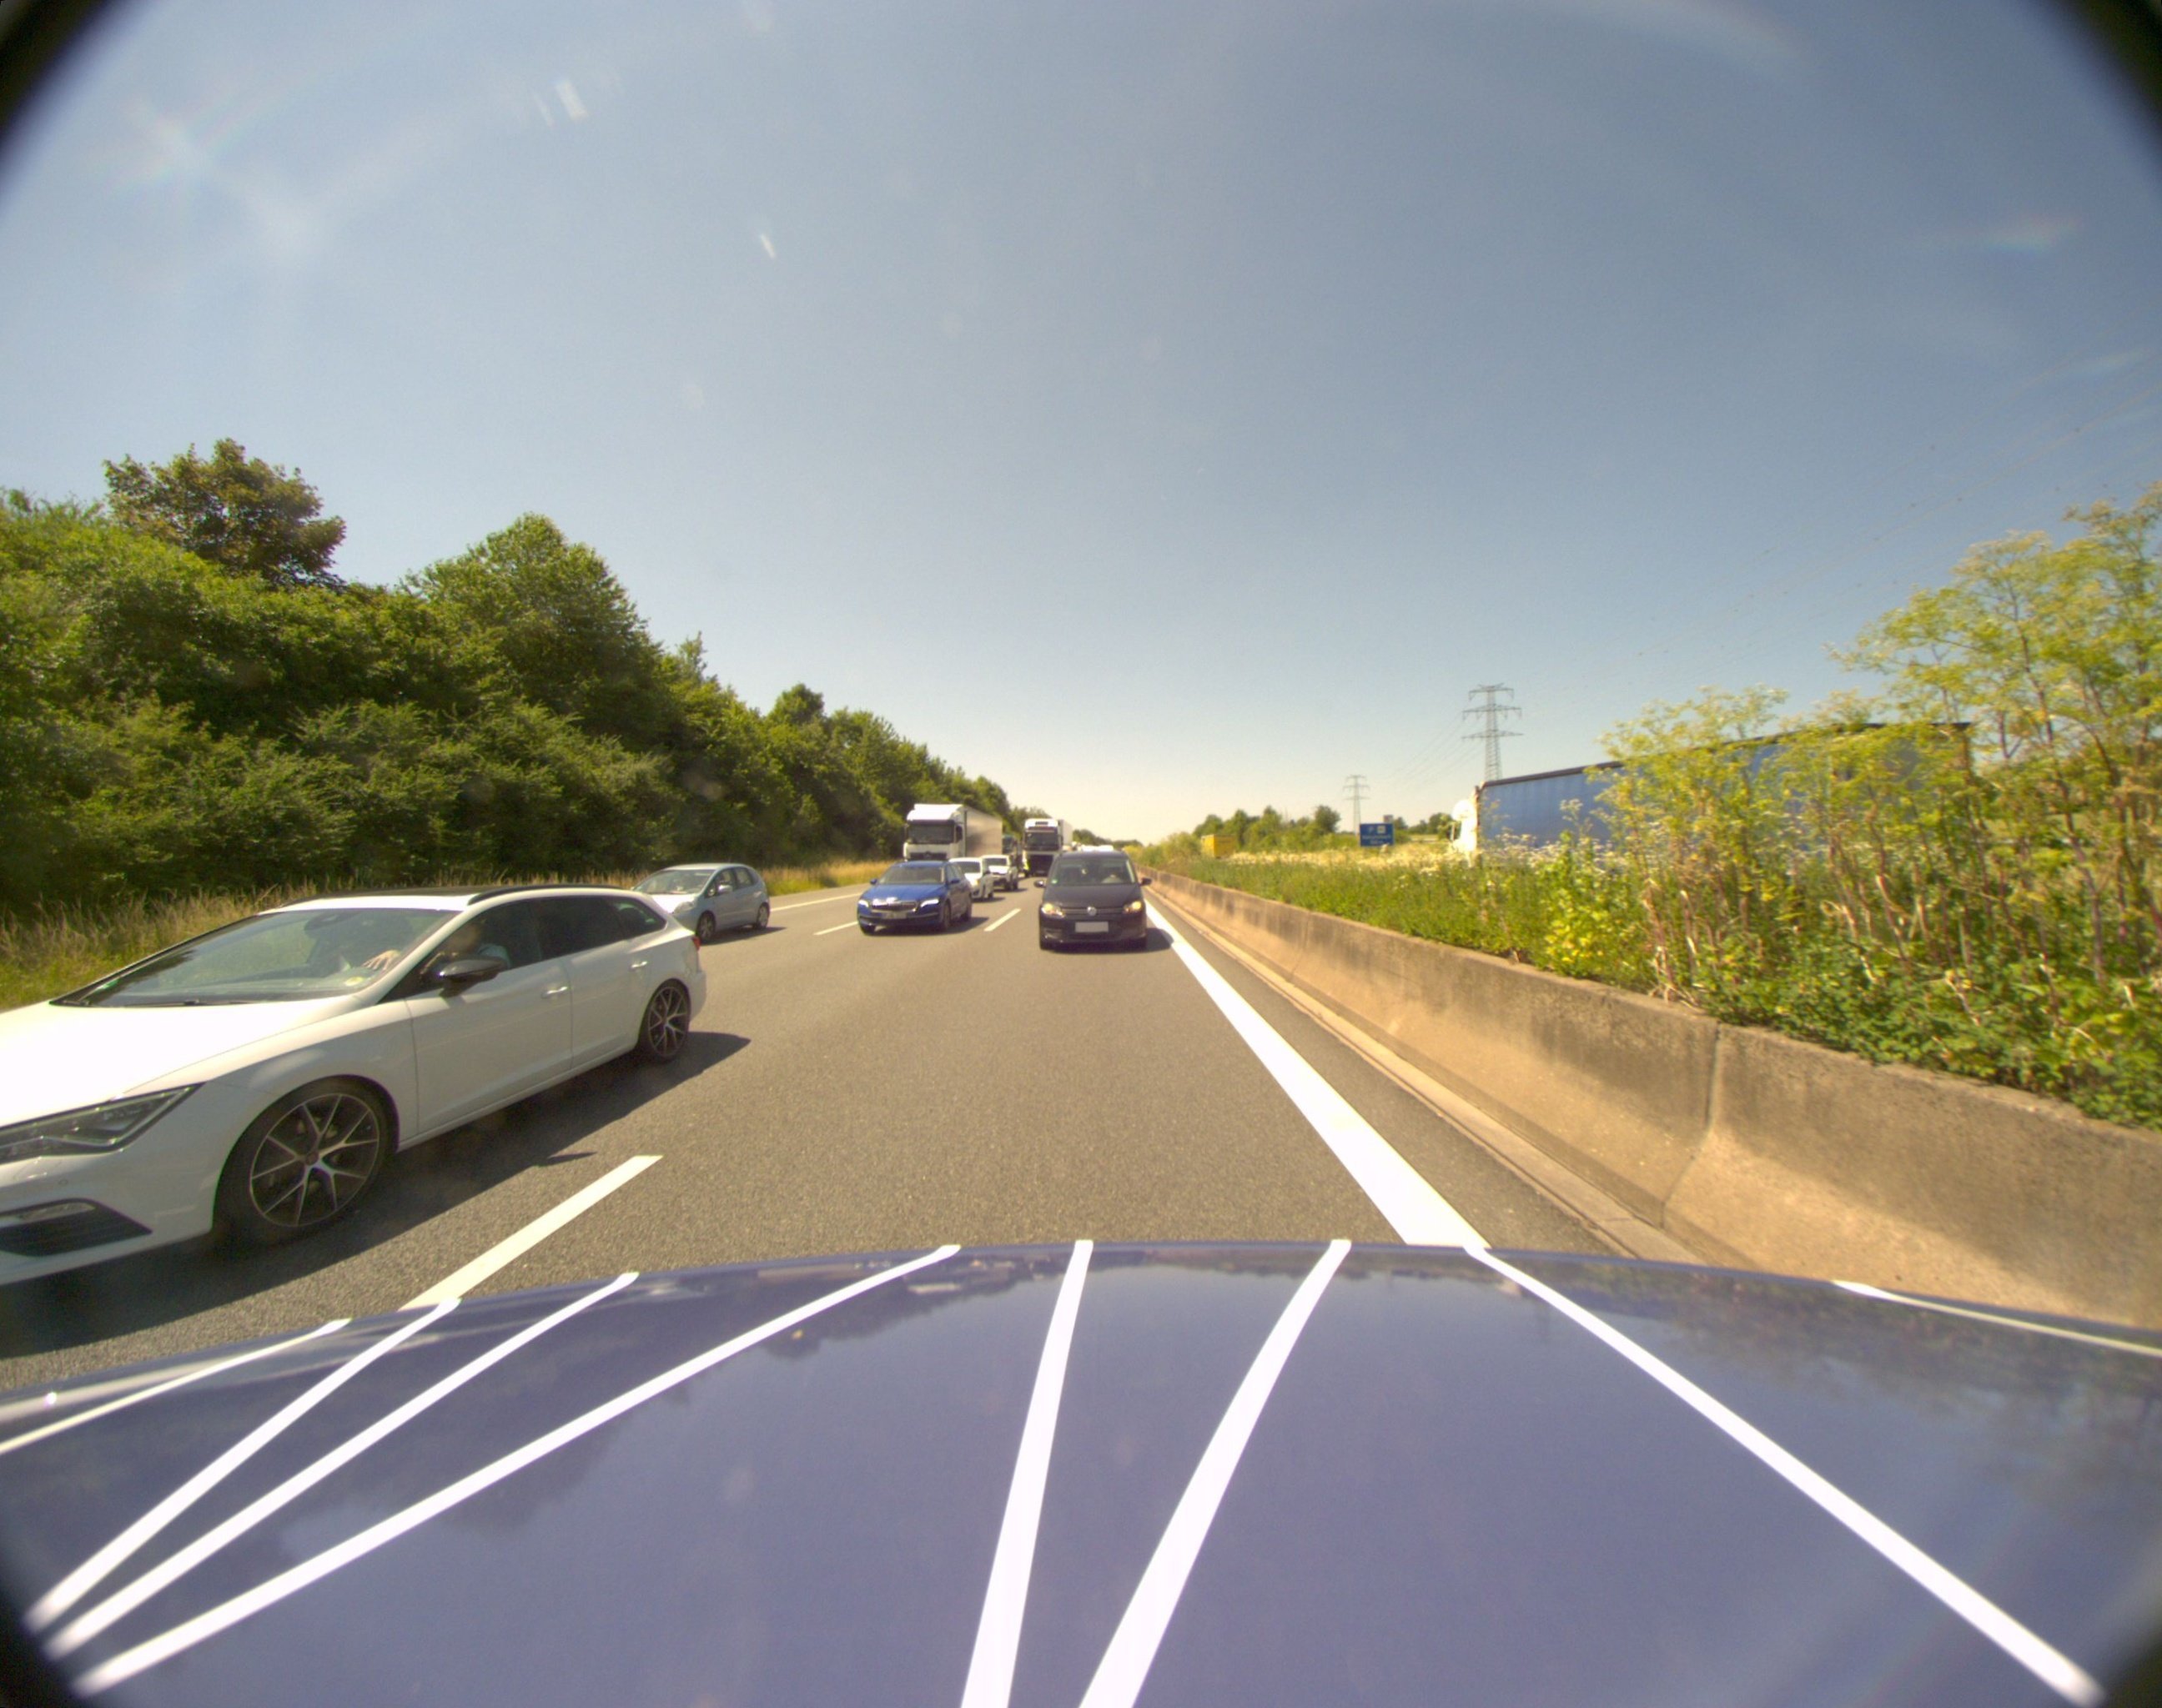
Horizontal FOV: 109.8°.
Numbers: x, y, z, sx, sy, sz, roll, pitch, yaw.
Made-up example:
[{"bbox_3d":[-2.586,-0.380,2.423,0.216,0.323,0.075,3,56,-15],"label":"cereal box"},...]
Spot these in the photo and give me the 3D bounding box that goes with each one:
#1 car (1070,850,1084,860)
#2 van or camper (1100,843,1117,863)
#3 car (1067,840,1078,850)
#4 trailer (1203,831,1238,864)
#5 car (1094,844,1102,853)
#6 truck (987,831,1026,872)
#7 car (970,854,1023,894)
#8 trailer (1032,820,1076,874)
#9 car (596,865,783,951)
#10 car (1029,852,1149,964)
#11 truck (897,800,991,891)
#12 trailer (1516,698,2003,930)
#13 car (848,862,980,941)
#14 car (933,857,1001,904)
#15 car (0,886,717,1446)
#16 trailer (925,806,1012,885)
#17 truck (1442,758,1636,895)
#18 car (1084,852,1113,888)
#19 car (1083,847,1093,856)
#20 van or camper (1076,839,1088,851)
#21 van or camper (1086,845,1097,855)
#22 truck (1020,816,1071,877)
[{"bbox_3d":[-0.496,0.127,102.274,1.650,1.336,3.381,-1,1,3],"label":"car"},{"bbox_3d":[3.556,-0.138,98.104,1.956,2.368,4.037,-3,1,3],"label":"van or camper"},{"bbox_3d":[-1.714,-1.863,156.417,1.998,2.002,4.000,-1,1,2],"label":"car"},{"bbox_3d":[18.965,-0.969,103.996,2.828,4.182,10.684,-3,1,2],"label":"trailer"},{"bbox_3d":[4.491,-1.350,200.473,1.998,2.302,4.229,-1,1,2],"label":"car"},{"bbox_3d":[-6.107,-0.227,63.120,2.299,3.128,5.675,-1,1,3],"label":"truck"},{"bbox_3d":[-3.596,0.800,32.866,1.748,1.549,3.884,0,1,2],"label":"car"},{"bbox_3d":[-2.049,-0.575,61.476,2.776,3.951,9.156,-1,1,3],"label":"trailer"},{"bbox_3d":[-7.769,0.986,15.541,1.666,1.453,3.922,0,1,2],"label":"car"},{"bbox_3d":[0.204,0.803,13.975,1.758,1.571,5.291,-1,1,2],"label":"car"},{"bbox_3d":[-6.845,-0.441,39.518,2.879,4.133,8.475,-1,1,3],"label":"truck"},{"bbox_3d":[15.685,-0.801,19.536,3.019,4.203,10.981,-1,1,2],"label":"trailer"},{"bbox_3d":[-3.537,0.948,16.995,1.780,1.408,4.572,0,1,2],"label":"car"},{"bbox_3d":[-3.891,0.862,26.518,1.609,1.426,3.810,0,1,3],"label":"car"},{"bbox_3d":[-4.073,1.042,4.345,1.752,1.435,4.313,-1,1,2],"label":"car"},{"bbox_3d":[-6.530,-0.525,46.506,2.879,4.133,12.076,-1,1,3],"label":"trailer"},{"bbox_3d":[15.926,-0.894,27.104,3.019,4.203,6.686,-1,1,2],"label":"truck"},{"bbox_3d":[0.908,0.764,38.071,1.357,1.630,2.994,-3,1,3],"label":"car"},{"bbox_3d":[1.345,-0.506,143.774,1.652,1.636,4.000,-1,1,3],"label":"car"},{"bbox_3d":[0.267,-2.263,191.277,2.745,2.679,5.363,-1,1,2],"label":"van or camper"},{"bbox_3d":[2.237,-0.957,160.028,2.189,2.018,4.364,-1,1,3],"label":"van or camper"},{"bbox_3d":[-2.399,-0.557,54.238,2.750,3.972,8.361,-1,1,3],"label":"truck"}]
